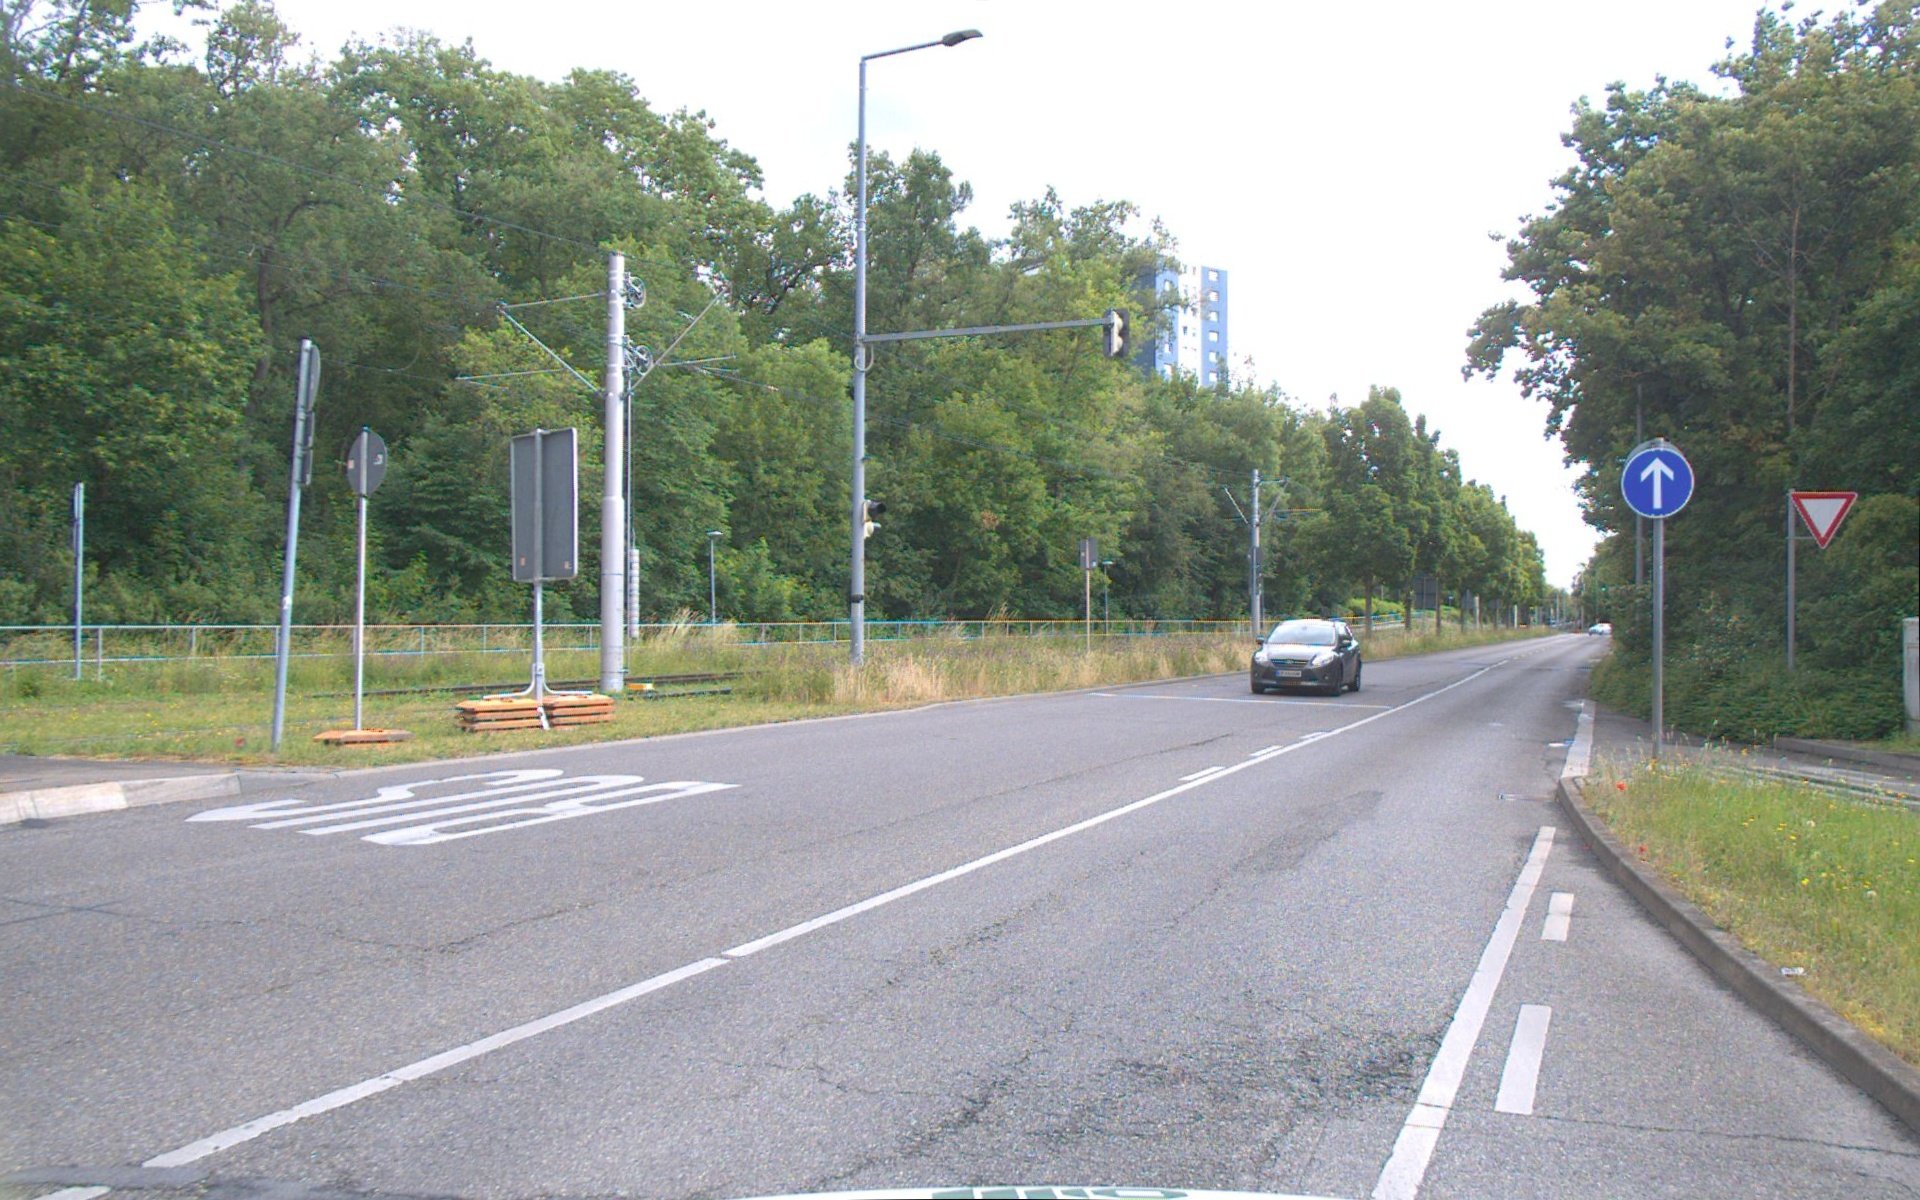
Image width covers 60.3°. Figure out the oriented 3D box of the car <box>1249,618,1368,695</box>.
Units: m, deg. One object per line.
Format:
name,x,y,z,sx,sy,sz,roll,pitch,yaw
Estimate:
car,7.233,1.120,34.039,1.719,1.460,4.428,0,-1,21
